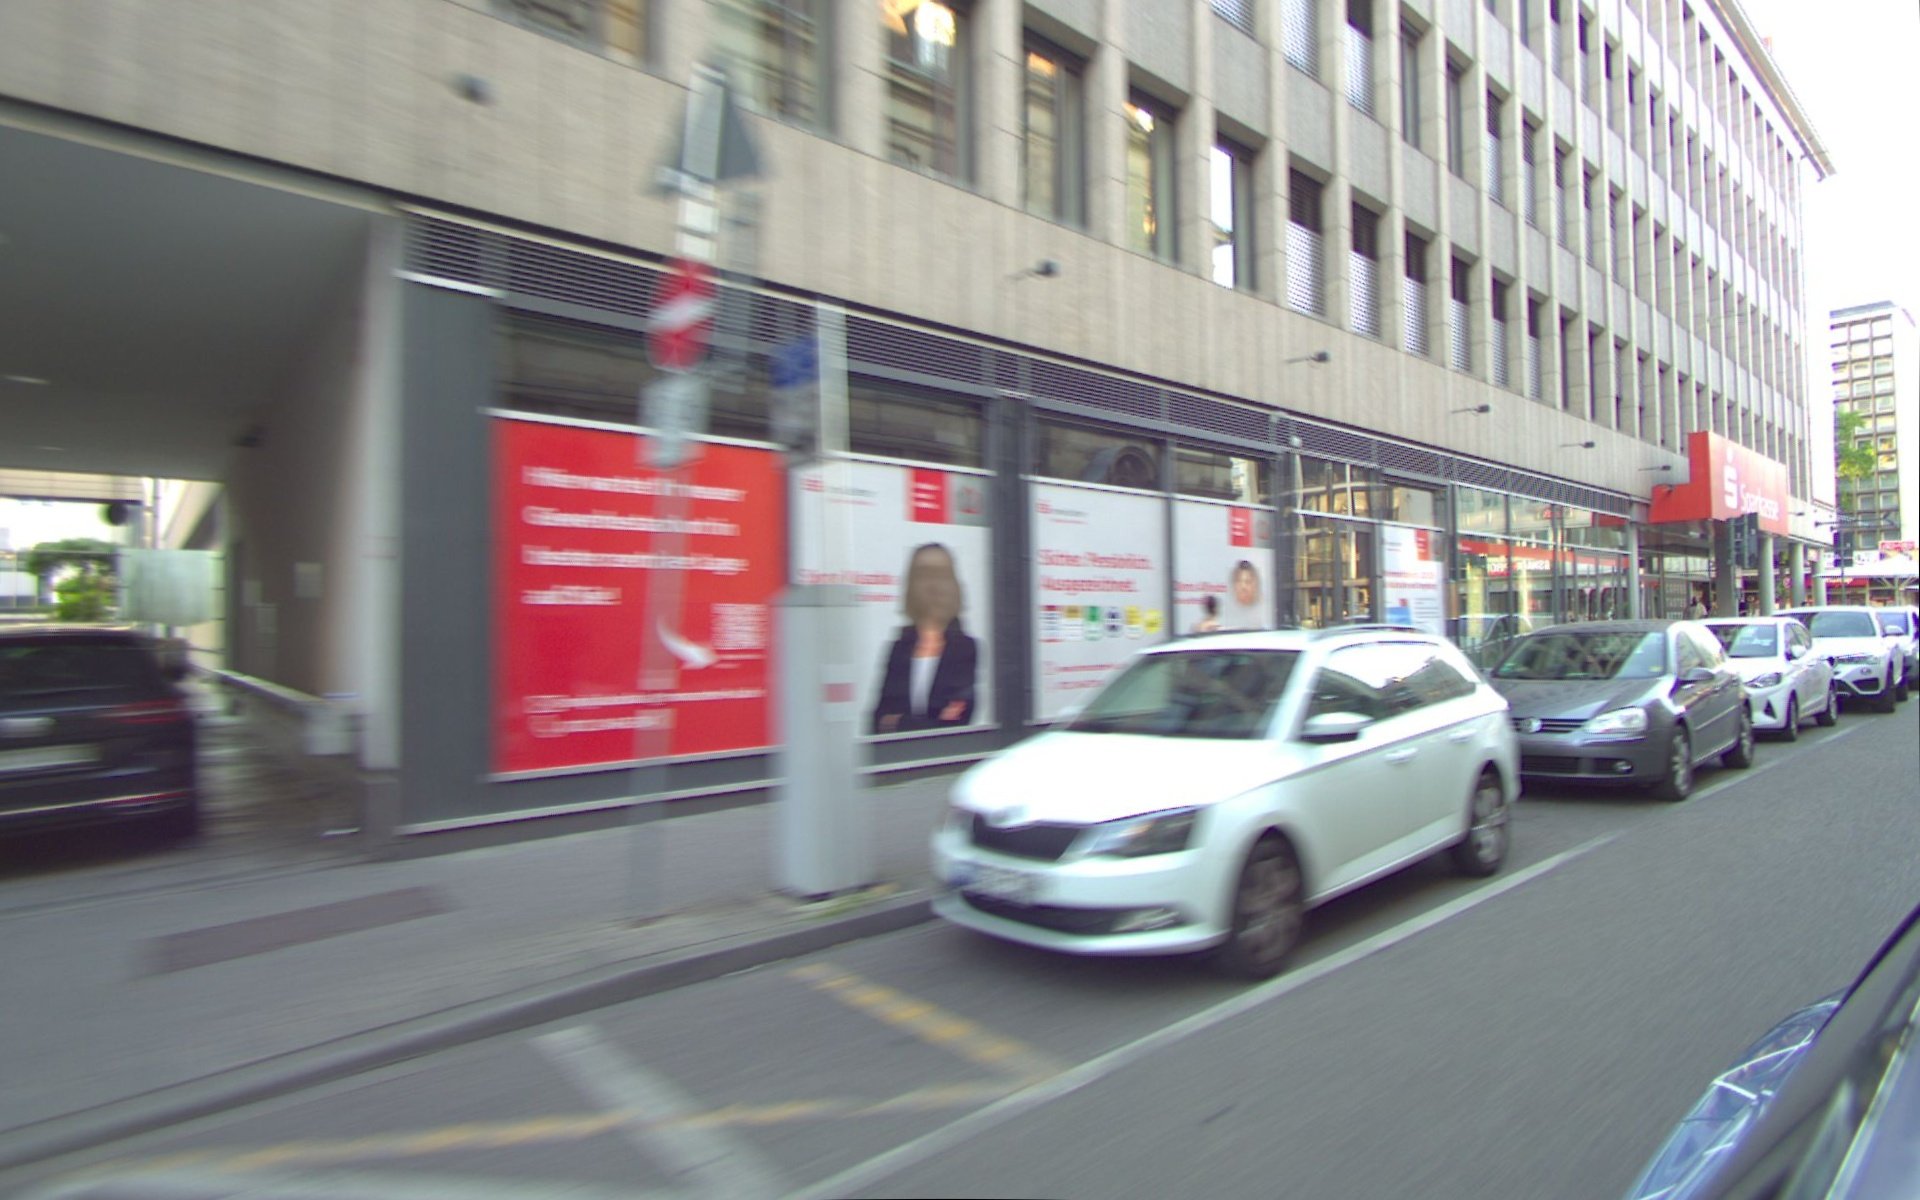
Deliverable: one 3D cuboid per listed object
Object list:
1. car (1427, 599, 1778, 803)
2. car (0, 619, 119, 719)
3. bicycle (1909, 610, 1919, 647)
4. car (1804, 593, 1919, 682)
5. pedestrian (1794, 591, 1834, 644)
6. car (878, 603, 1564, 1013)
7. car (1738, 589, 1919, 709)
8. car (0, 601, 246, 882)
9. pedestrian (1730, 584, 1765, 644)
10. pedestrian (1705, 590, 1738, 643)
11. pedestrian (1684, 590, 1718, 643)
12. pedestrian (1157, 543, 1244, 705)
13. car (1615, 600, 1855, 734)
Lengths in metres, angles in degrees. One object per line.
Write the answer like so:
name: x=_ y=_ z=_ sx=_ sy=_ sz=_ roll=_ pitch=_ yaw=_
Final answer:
car: x=6.222 y=0.778 z=9.576 sx=4.369 sy=1.466 sz=1.658 roll=-1 pitch=-2 yaw=-42
car: x=-16.386 y=1.193 z=18.327 sx=1.675 sy=1.579 sz=3.680 roll=-1 pitch=-1 yaw=-41
bicycle: x=28.039 y=0.803 z=29.304 sx=1.827 sy=1.046 sz=0.330 roll=0 pitch=-1 yaw=-32
car: x=18.722 y=0.724 z=20.441 sx=4.630 sy=1.619 sz=1.742 roll=0 pitch=-3 yaw=-40
pedestrian: x=29.404 y=0.601 z=34.859 sx=0.788 sy=1.784 sz=0.684 roll=0 pitch=-1 yaw=14
car: x=1.743 y=0.802 z=5.785 sx=4.233 sy=1.466 sz=1.659 roll=-1 pitch=-2 yaw=-41
car: x=14.436 y=0.713 z=16.649 sx=4.732 sy=1.687 sz=1.777 roll=-1 pitch=-2 yaw=-43
car: x=-6.616 y=0.854 z=7.354 sx=1.884 sy=1.520 sz=4.408 roll=-1 pitch=-1 yaw=-41
pedestrian: x=25.939 y=0.446 z=33.338 sx=0.675 sy=1.943 sz=0.798 roll=1 pitch=-1 yaw=-41
pedestrian: x=26.111 y=0.560 z=34.699 sx=0.675 sy=1.784 sz=0.798 roll=1 pitch=-1 yaw=-42
pedestrian: x=25.189 y=0.551 z=34.399 sx=0.676 sy=1.784 sz=0.798 roll=1 pitch=-1 yaw=-44
pedestrian: x=2.571 y=0.244 z=10.816 sx=0.639 sy=1.656 sz=0.649 roll=0 pitch=0 yaw=-41
car: x=10.232 y=0.788 z=13.278 sx=3.800 sy=1.466 sz=1.659 roll=-1 pitch=-2 yaw=-40
